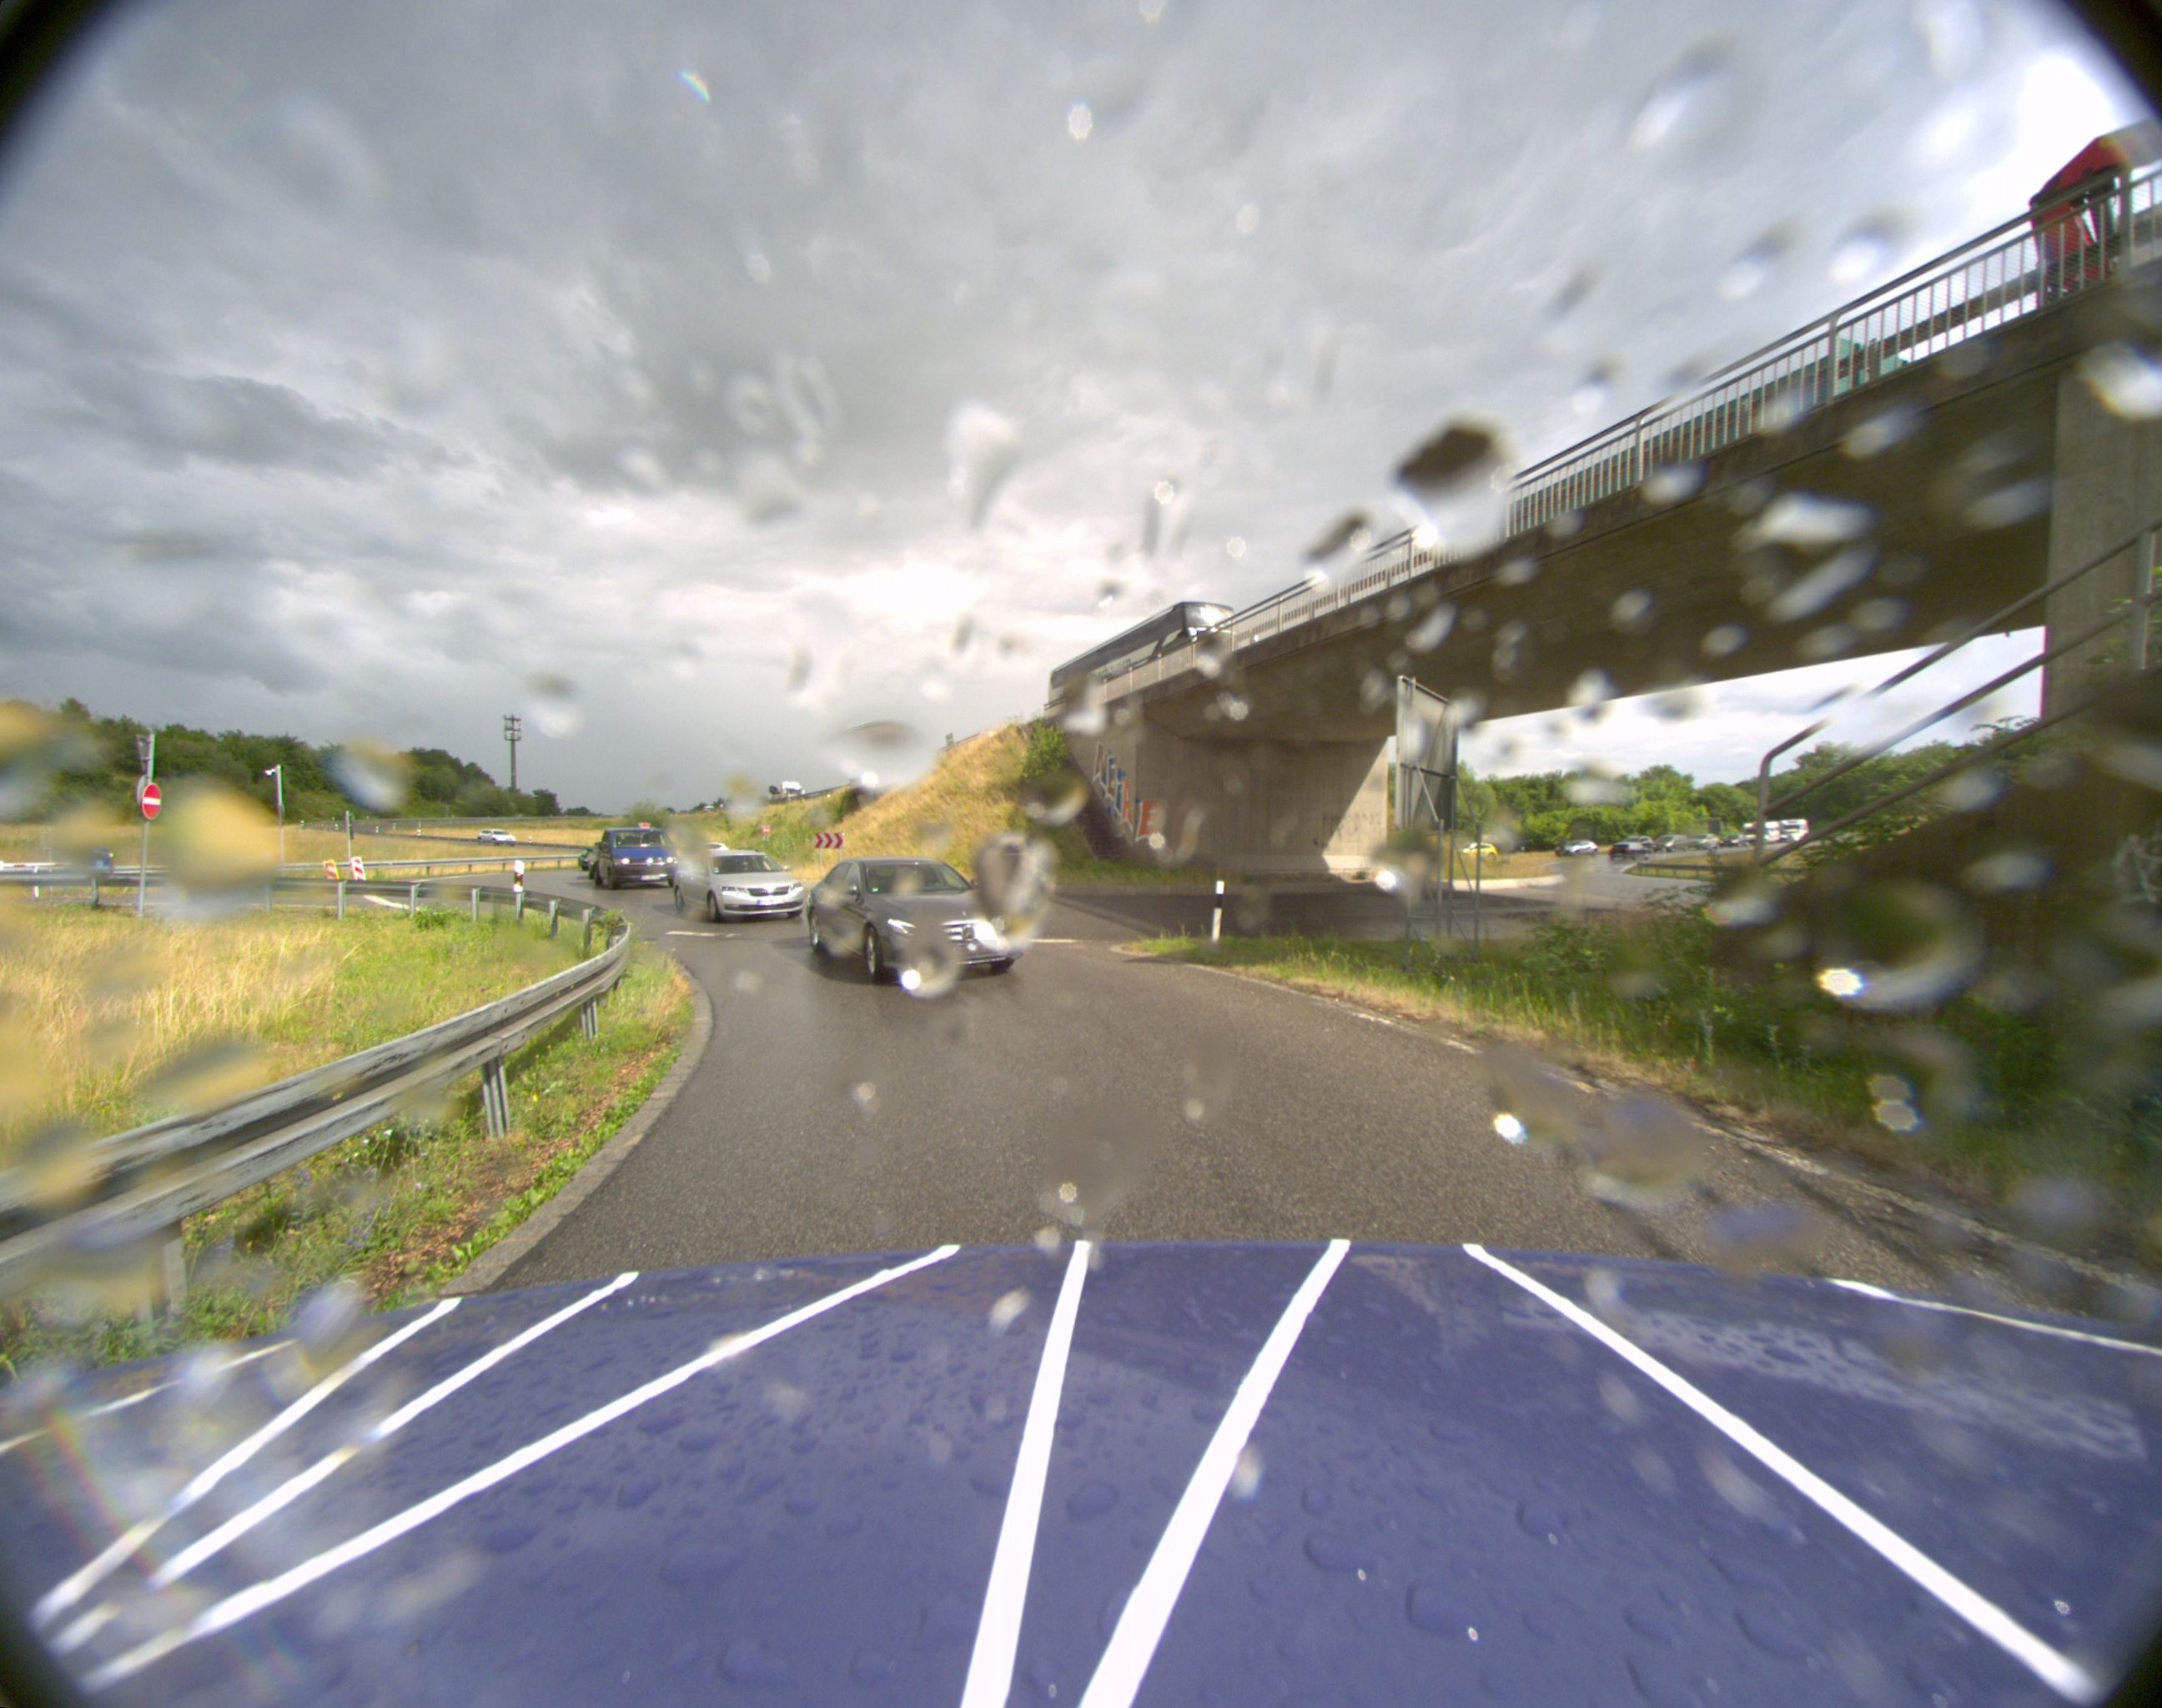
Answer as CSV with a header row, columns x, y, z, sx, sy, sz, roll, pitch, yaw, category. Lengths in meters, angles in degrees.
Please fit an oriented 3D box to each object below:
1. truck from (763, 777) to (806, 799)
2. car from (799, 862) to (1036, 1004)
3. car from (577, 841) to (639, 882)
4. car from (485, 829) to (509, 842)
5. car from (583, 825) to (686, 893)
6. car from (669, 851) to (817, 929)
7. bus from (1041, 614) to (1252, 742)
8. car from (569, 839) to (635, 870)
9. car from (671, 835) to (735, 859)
x,y,z,sx,sy,sz,roll,pitch,yaw,category
-47.255,-10.407,120.873,3.167,3.177,9.250,-3,4,-43,truck
-2.506,0.880,10.587,1.774,1.383,4.579,-1,2,-32,car
-18.836,0.238,30.185,1.660,1.466,3.835,-1,2,-38,car
-58.858,-1.855,76.576,1.715,1.283,3.763,-1,2,-41,car
-14.796,0.051,24.998,1.897,1.904,5.664,-1,3,-41,car
-7.490,0.671,16.603,1.801,1.390,4.336,-3,3,-39,car
2.122,-7.297,34.113,2.616,3.063,14.428,-2,3,-25,bus
-24.812,-0.018,39.475,1.619,1.466,3.841,0,2,-12,car
-24.129,-0.495,48.631,1.616,1.466,3.849,1,2,12,car
